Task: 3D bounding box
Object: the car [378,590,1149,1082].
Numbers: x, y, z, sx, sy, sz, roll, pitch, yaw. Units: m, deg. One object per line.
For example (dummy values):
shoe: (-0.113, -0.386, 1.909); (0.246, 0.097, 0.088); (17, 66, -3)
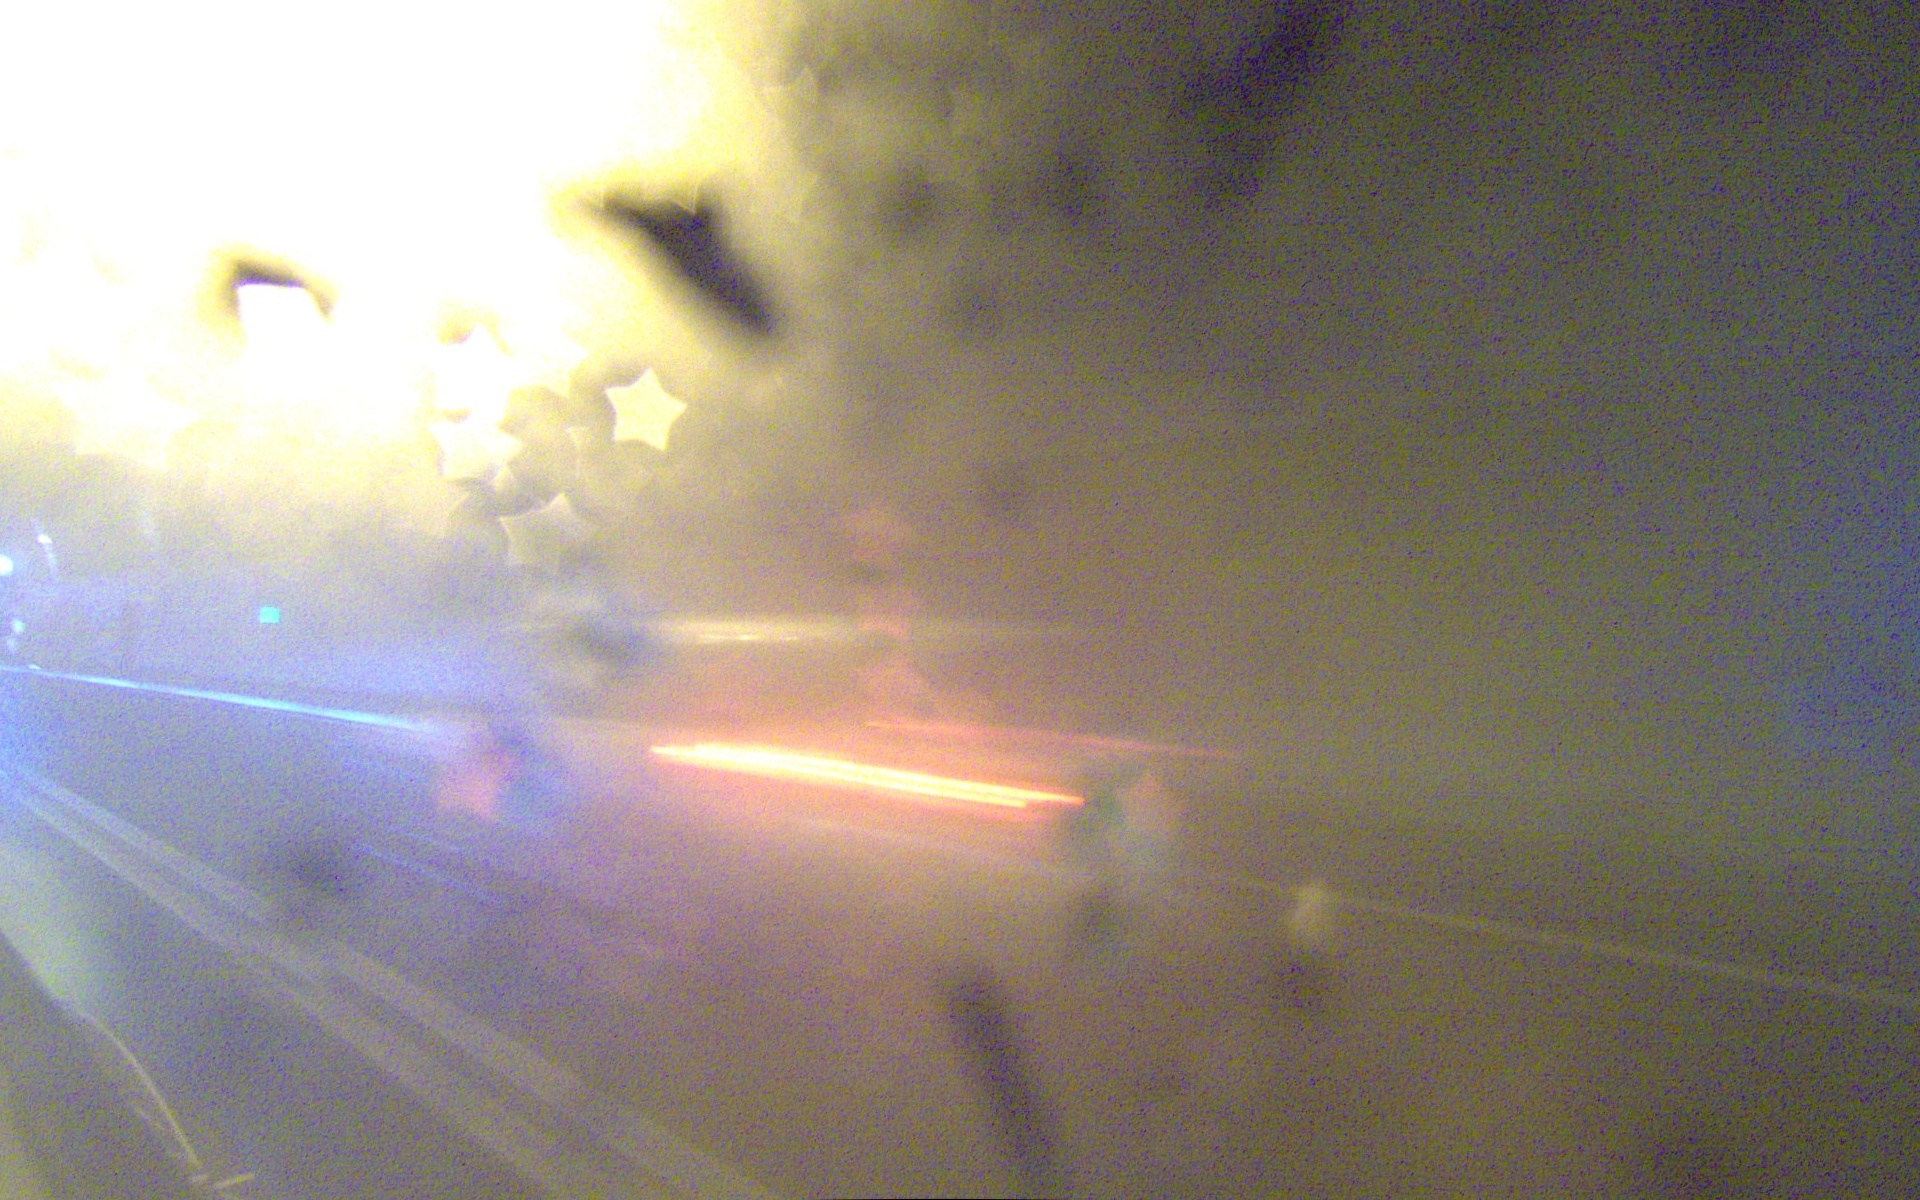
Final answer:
car: (-1.219, 0.728, 4.918); (3.934, 1.458, 1.609); (-1, -1, 41)
